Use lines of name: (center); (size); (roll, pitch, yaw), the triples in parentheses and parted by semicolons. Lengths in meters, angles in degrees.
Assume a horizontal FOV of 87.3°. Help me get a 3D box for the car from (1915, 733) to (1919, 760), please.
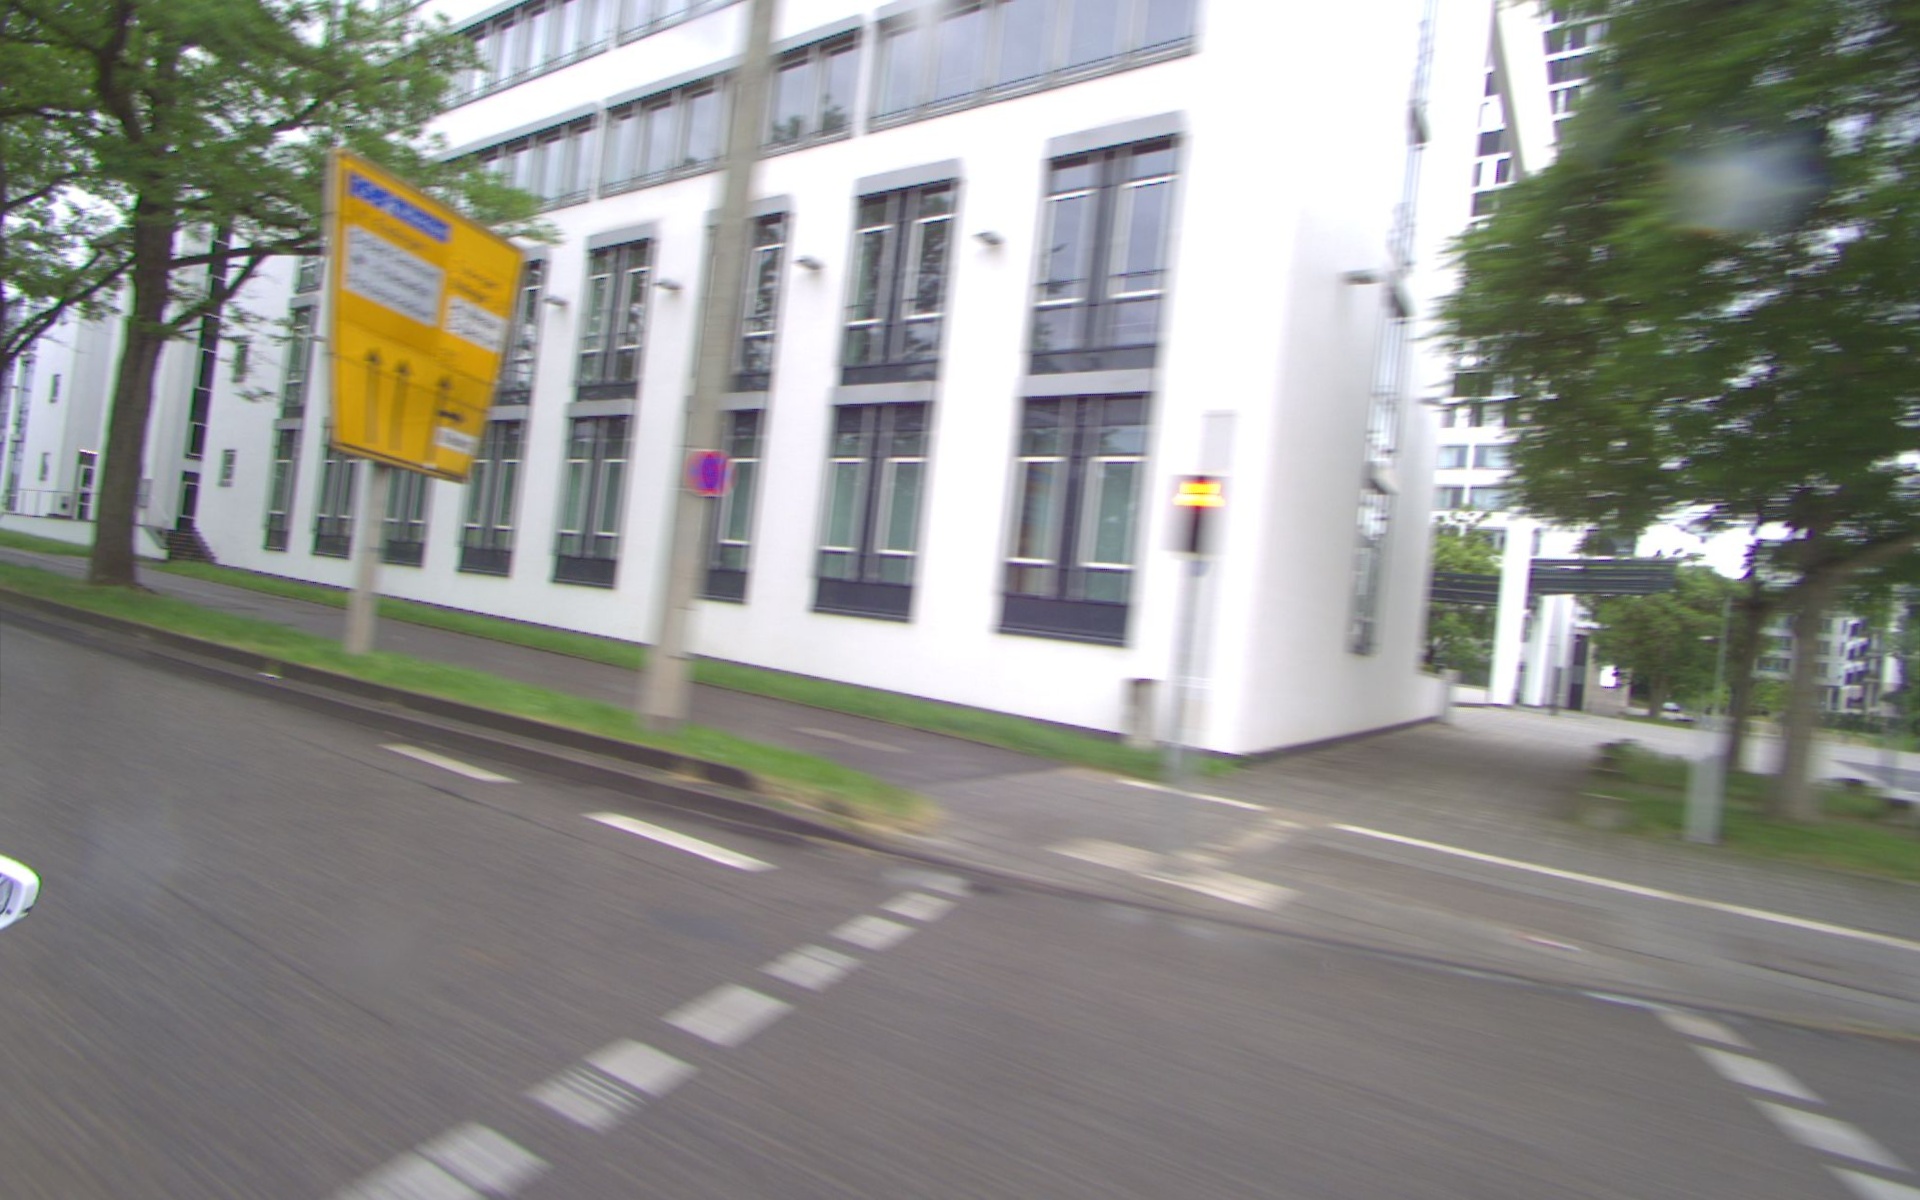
car: (74.113, 11.216, 74.957); (3.940, 2.036, 1.995); (4, -3, 37)
